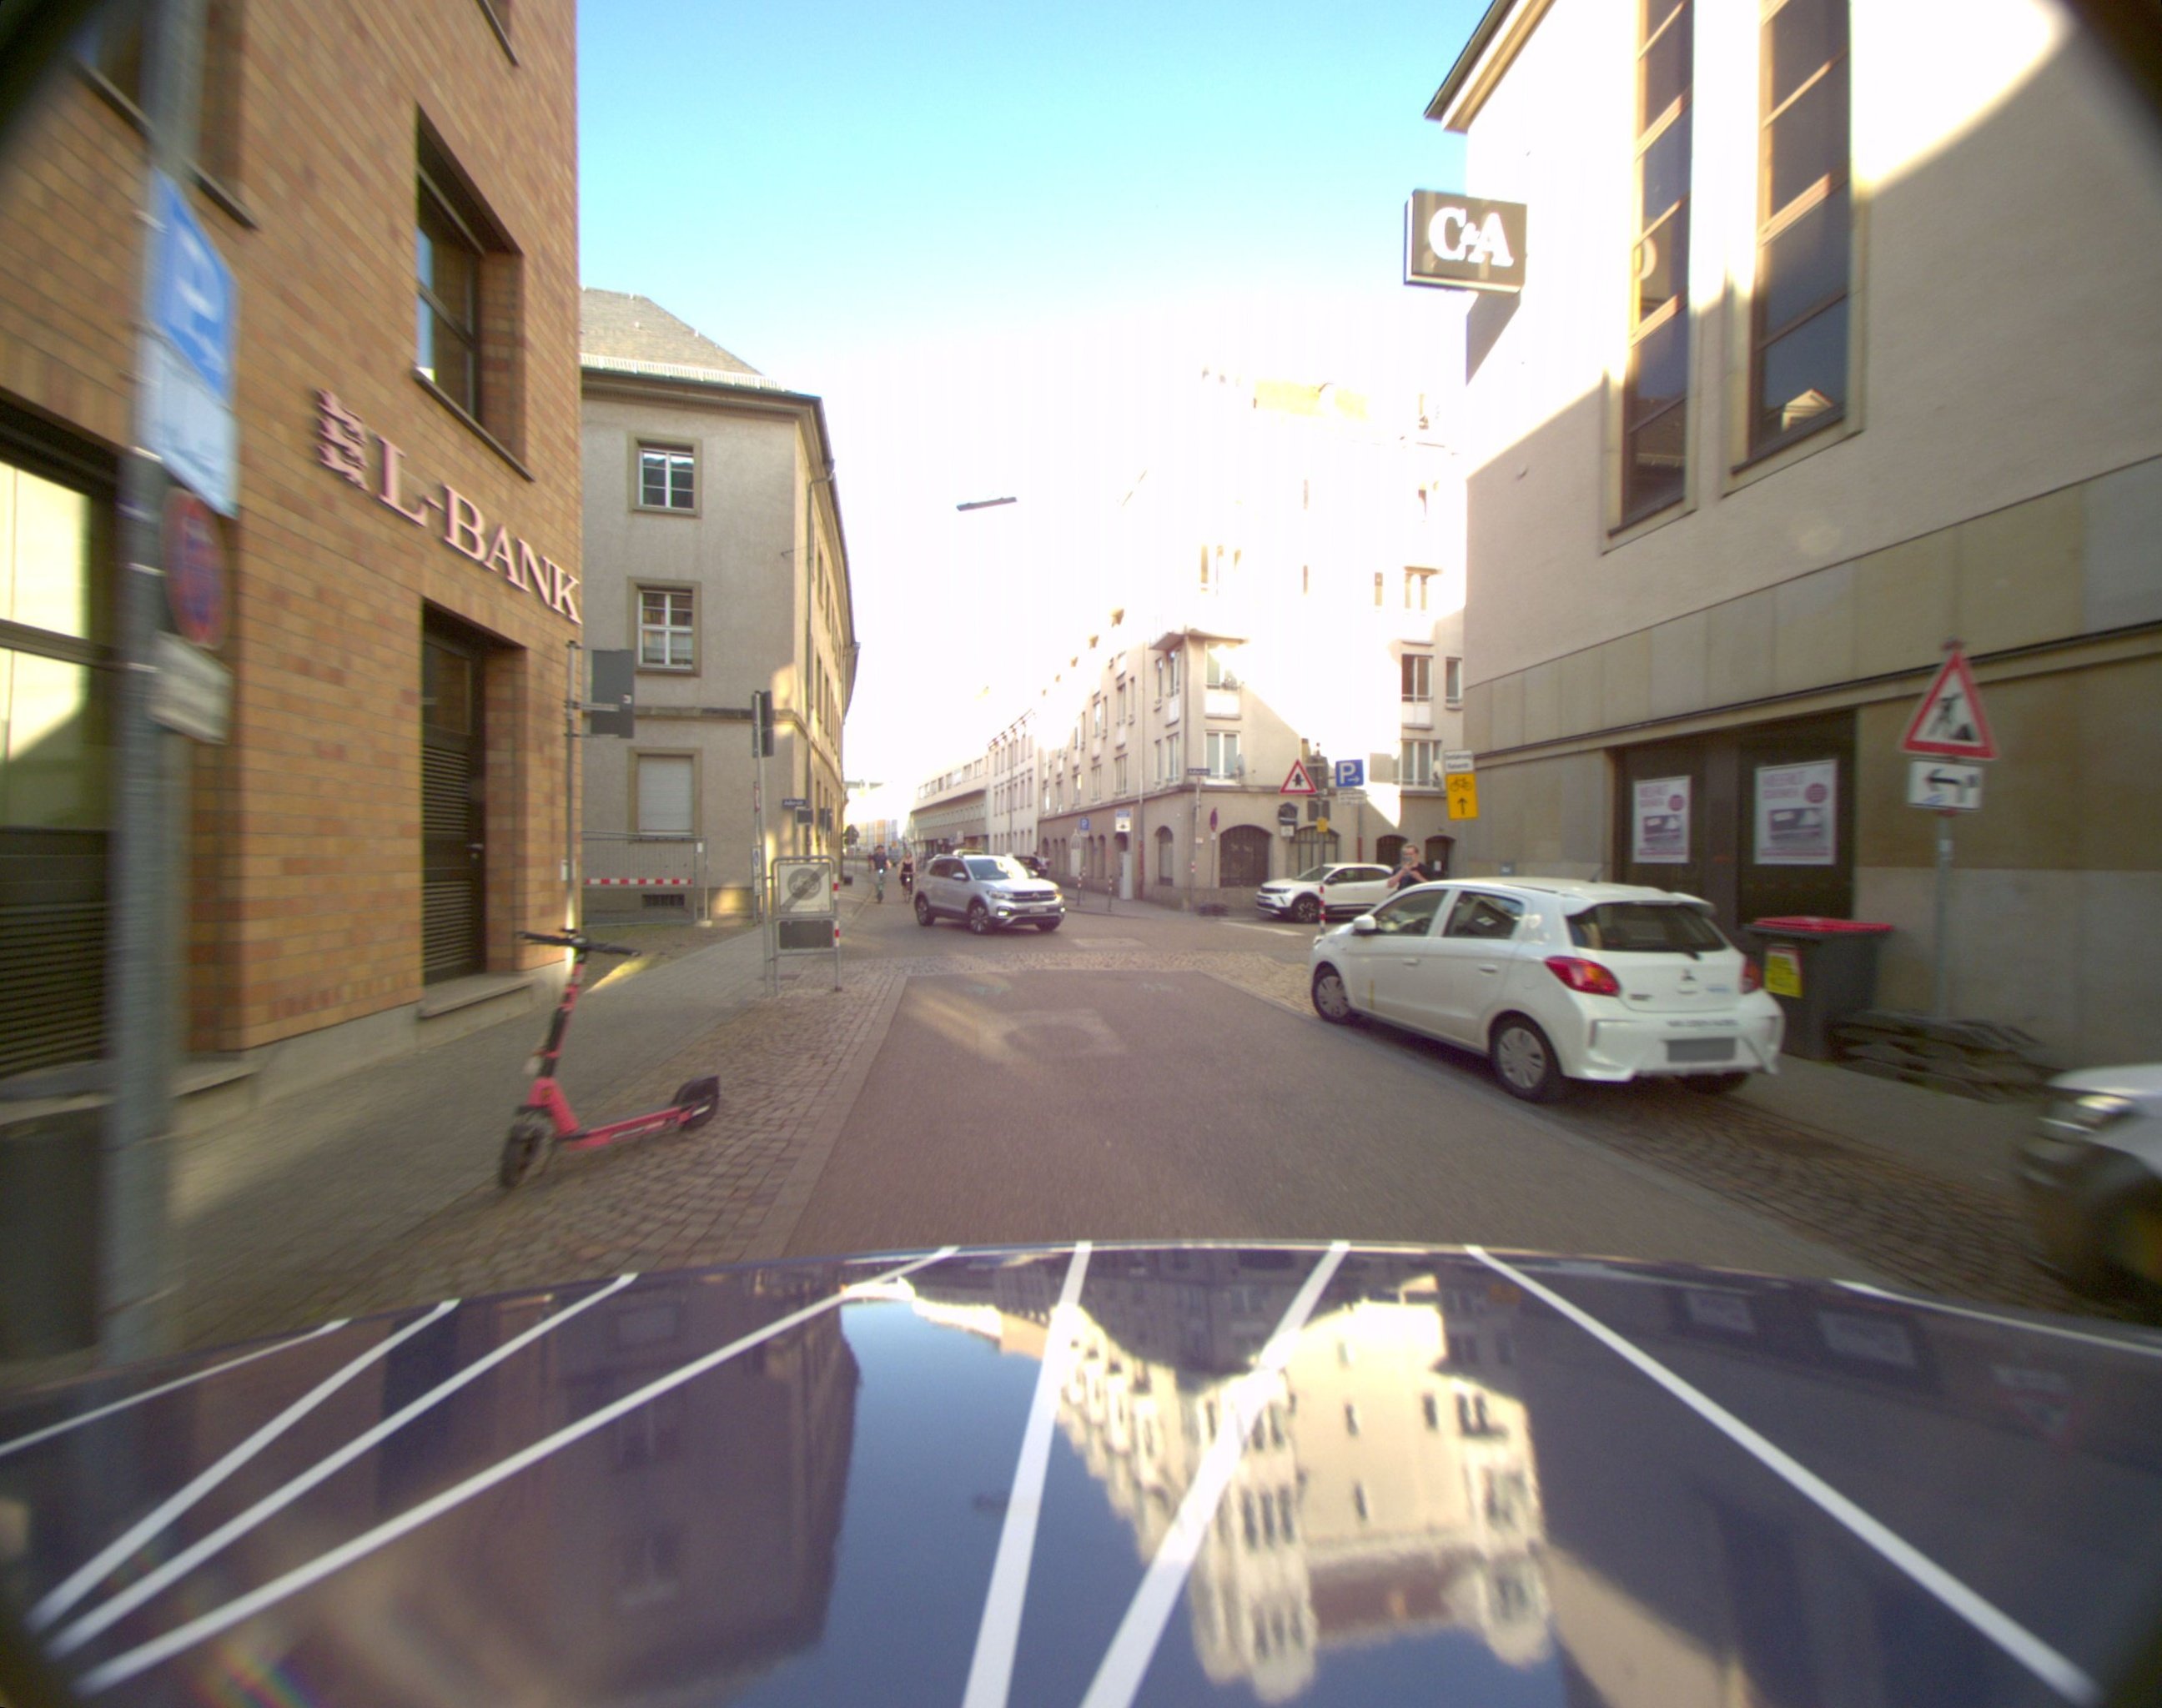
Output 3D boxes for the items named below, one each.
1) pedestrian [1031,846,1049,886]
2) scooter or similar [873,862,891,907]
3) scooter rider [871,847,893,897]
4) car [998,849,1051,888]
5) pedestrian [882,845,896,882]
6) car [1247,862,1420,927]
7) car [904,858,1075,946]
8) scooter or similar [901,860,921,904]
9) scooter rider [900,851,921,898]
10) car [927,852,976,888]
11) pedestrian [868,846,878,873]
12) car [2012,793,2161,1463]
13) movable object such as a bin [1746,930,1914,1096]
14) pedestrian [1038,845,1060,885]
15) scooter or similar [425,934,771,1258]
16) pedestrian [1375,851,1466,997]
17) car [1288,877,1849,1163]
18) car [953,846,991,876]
[{"bbox_3d":[-2.073,0.604,38.217,0.716,2.002,0.698,0,1,-16],"label":"pedestrian"},{"bbox_3d":[-6.470,0.953,24.666,0.524,1.388,1.553,1,0,-15],"label":"scooter or similar"},{"bbox_3d":[-6.541,0.575,24.989,0.648,1.585,0.599,-2,2,-15],"label":"scooter rider"},{"bbox_3d":[-2.740,0.645,35.918,1.890,1.694,3.995,1,0,-13],"label":"car"},{"bbox_3d":[-10.543,0.512,41.700,0.716,2.002,0.698,0,1,-16],"label":"pedestrian"},{"bbox_3d":[6.647,1.063,20.224,3.969,1.584,1.742,1,1,-8],"label":"car"},{"bbox_3d":[-2.039,0.884,15.939,1.767,1.537,3.989,0,1,-38],"label":"car"},{"bbox_3d":[-5.645,0.912,25.226,0.551,1.388,1.553,1,0,-15],"label":"scooter or similar"},{"bbox_3d":[-5.679,0.671,25.262,0.592,1.500,0.599,-2,2,-15],"label":"scooter rider"},{"bbox_3d":[-6.212,0.778,36.264,1.858,1.583,3.801,1,-1,-16],"label":"car"},{"bbox_3d":[-15.948,0.421,58.252,0.716,2.002,0.698,0,1,-16],"label":"pedestrian"},{"bbox_3d":[4.182,0.790,0.153,1.905,1.847,4.730,2,0,-7],"label":"car"},{"bbox_3d":[5.691,1.176,5.800,0.739,1.094,0.590,-2,2,-10],"label":"movable object such as a bin"},{"bbox_3d":[-1.639,0.572,38.867,0.938,2.002,0.698,0,1,-16],"label":"pedestrian"},{"bbox_3d":[-2.426,1.110,3.979,0.537,1.228,1.422,-1,0,33],"label":"scooter or similar"},{"bbox_3d":[4.571,0.906,10.240,0.863,1.844,0.714,1,2,-37],"label":"pedestrian"},{"bbox_3d":[3.437,1.025,6.329,1.743,1.483,3.795,2,0,-12],"label":"car"},{"bbox_3d":[-7.474,0.437,51.779,1.891,1.863,3.993,-1,1,-18],"label":"car"}]
